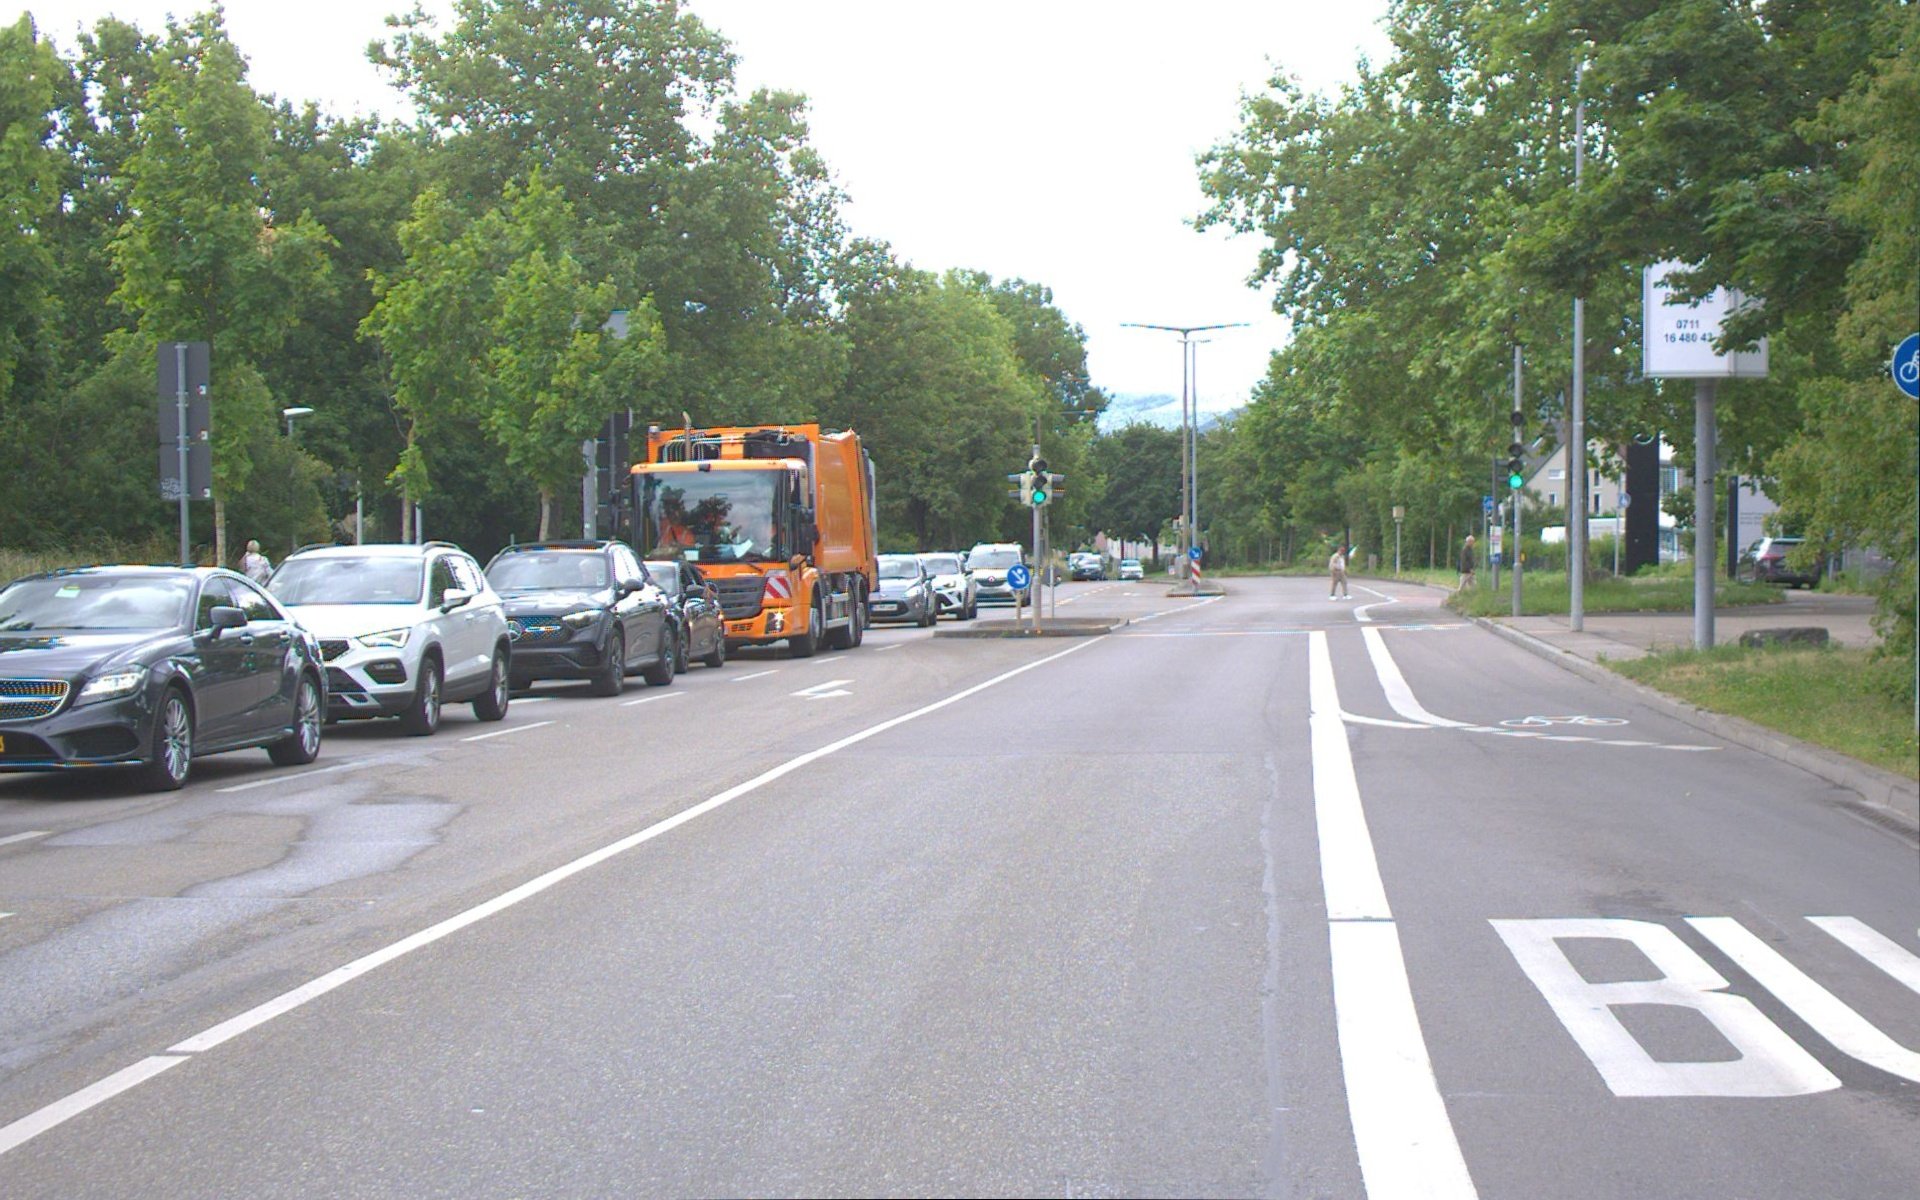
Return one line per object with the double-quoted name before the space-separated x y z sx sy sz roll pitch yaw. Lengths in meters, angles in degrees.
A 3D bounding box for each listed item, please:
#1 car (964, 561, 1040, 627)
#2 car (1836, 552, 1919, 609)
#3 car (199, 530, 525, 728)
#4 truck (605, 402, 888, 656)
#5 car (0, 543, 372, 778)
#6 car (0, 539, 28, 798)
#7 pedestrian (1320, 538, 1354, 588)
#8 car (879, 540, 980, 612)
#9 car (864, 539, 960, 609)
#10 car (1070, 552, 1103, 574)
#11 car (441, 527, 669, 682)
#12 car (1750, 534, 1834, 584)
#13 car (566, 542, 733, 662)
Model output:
"car" 1.228 -0.185 98.627 1.846 1.797 4.650 -2 0 4
"car" 25.530 -0.540 95.448 1.711 1.503 4.343 2 1 6
"car" -5.032 0.200 29.490 1.730 1.580 4.223 0 1 5
"truck" -3.039 -1.050 52.192 2.706 3.475 9.993 0 1 6
"car" -5.332 0.322 22.767 1.640 1.386 4.884 0 1 5
"car" -6.078 0.387 16.988 1.640 1.386 3.762 0 1 5
"pedestrian" 11.017 -1.072 100.447 0.788 1.458 0.749 -1 0 -13
"car" -0.661 -0.544 77.875 1.846 1.515 4.815 -2 0 4
"car" -0.949 -0.528 69.763 1.547 1.326 3.653 -2 0 5
"car" 7.517 -2.204 203.835 1.772 1.300 3.999 0 0 5
"car" -4.292 0.017 36.997 1.640 1.580 4.060 0 1 5
"car" 23.108 -1.141 95.569 1.711 1.349 4.343 0 0 6
"car" -3.899 -0.010 43.659 1.434 1.452 3.894 0 1 5
